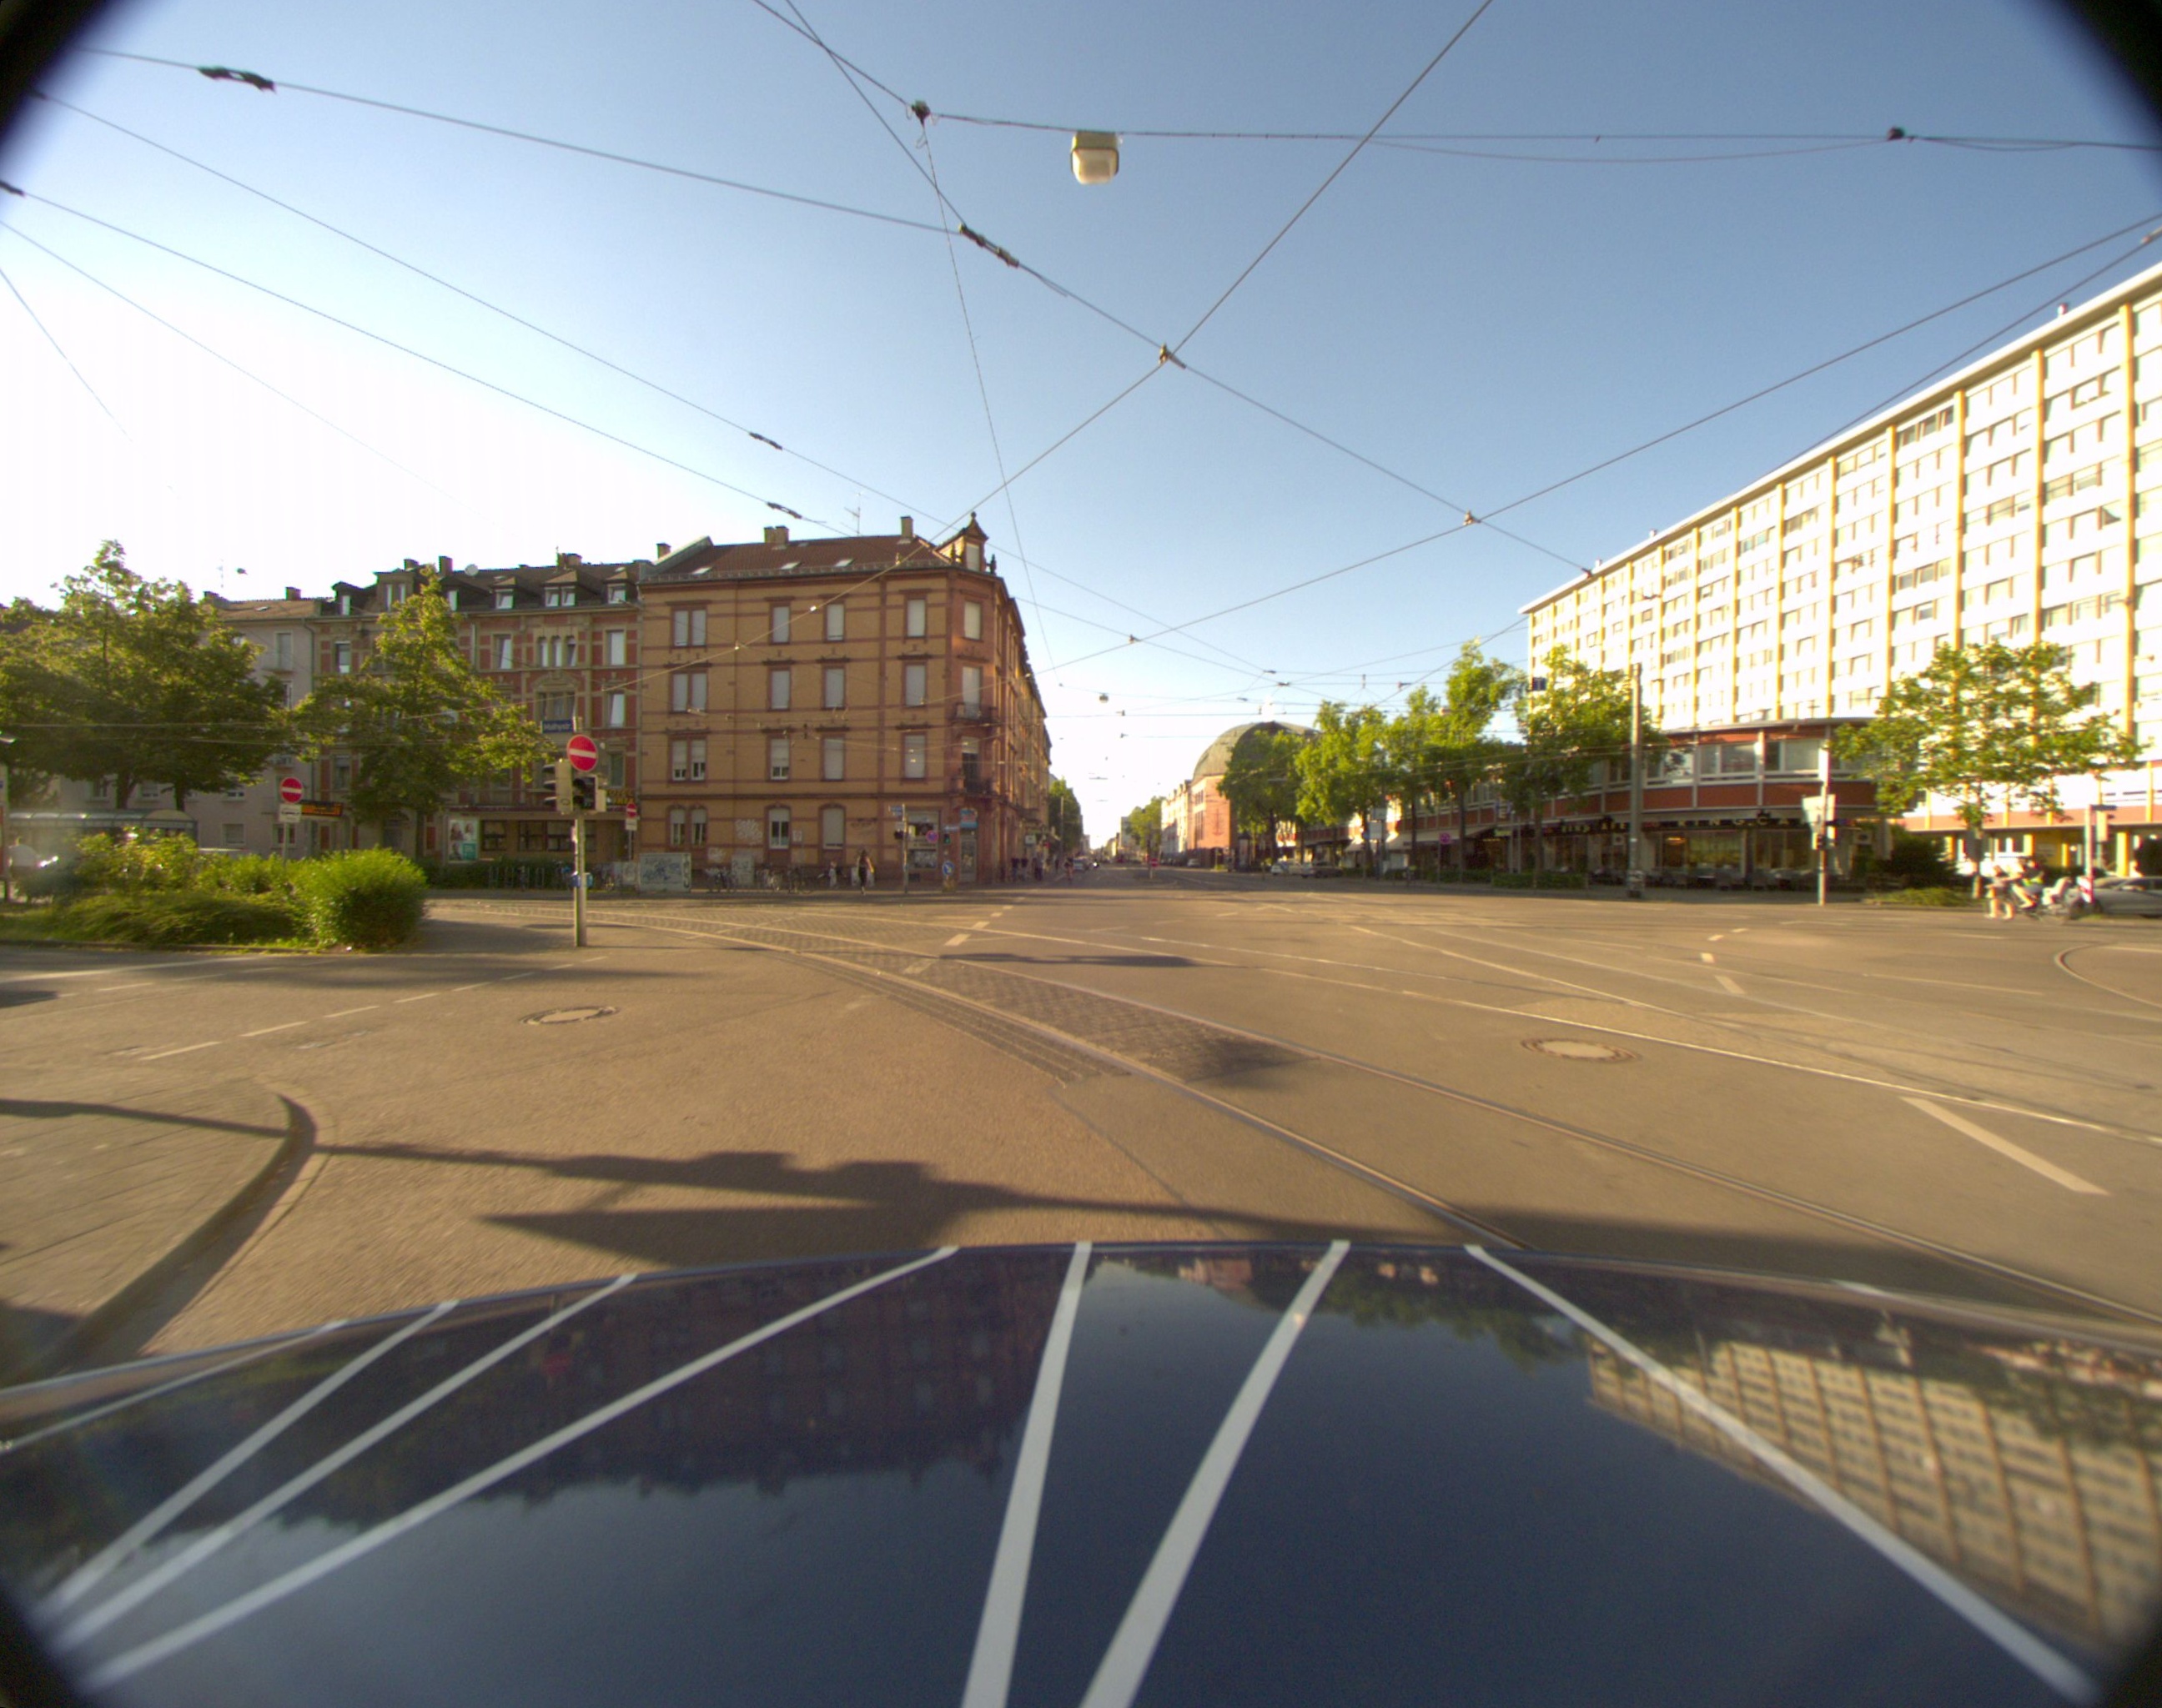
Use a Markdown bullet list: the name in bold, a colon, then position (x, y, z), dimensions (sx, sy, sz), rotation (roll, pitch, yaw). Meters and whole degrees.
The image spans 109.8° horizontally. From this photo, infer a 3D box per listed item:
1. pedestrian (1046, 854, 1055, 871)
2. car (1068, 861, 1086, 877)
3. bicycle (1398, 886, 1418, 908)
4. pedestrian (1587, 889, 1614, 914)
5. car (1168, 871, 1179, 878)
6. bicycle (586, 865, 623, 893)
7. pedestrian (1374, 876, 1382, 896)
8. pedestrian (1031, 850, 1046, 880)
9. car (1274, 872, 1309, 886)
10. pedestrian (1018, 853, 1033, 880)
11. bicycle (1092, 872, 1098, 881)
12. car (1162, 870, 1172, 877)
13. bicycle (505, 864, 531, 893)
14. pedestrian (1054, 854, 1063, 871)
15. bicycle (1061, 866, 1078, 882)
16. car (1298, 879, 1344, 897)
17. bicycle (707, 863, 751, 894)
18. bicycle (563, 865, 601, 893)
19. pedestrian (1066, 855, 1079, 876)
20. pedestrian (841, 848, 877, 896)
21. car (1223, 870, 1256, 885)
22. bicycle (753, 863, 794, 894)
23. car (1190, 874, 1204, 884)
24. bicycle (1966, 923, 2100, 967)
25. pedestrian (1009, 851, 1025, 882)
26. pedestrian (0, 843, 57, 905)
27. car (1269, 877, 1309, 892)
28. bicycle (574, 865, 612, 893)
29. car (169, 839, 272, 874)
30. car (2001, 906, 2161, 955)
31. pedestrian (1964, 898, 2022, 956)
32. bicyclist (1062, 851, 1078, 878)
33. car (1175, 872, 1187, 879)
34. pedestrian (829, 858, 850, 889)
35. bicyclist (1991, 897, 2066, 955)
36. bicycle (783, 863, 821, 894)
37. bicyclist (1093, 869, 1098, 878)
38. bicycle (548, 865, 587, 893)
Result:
- **pedestrian**: position (-3.029, 0.864, 75.514), dimensions (0.700, 1.713, 0.681), rotation (3, 0, 3)
- **car**: position (-0.397, 1.659, 84.997), dimensions (1.670, 1.674, 4.002), rotation (1, -1, 4)
- **bicycle**: position (19.371, 2.555, 44.980), dimensions (0.582, 1.227, 1.858), rotation (0, -1, 7)
- **pedestrian**: position (29.885, 2.739, 43.736), dimensions (0.936, 1.388, 0.891), rotation (2, -1, 3)
- **car**: position (20.768, 4.561, 170.278), dimensions (1.965, 1.593, 4.000), rotation (0, -1, -1)
- **bicycle**: position (-20.236, 1.056, 32.268), dimensions (1.795, 1.101, 0.501), rotation (1, 0, 28)
- **pedestrian**: position (27.385, 2.923, 70.070), dimensions (0.635, 1.758, 0.769), rotation (2, 1, 17)
- **pedestrian**: position (-2.774, 0.686, 49.182), dimensions (0.824, 1.883, 0.754), rotation (3, -1, 2)
- **car**: position (33.599, 3.968, 121.220), dimensions (4.983, 2.001, 2.000), rotation (2, -1, -1)
- **pedestrian**: position (-3.605, 0.786, 49.569), dimensions (0.777, 1.713, 0.754), rotation (3, -1, 2)
- **bicycle**: position (1.914, 3.034, 102.688), dimensions (0.646, 1.175, 1.804), rotation (2, -1, -1)
- **car**: position (21.436, 4.884, 189.431), dimensions (1.965, 1.593, 4.000), rotation (0, -1, -1)
- **bicycle**: position (-22.273, 0.958, 30.050), dimensions (1.795, 1.101, 0.501), rotation (1, -1, 43)
- **pedestrian**: position (-2.215, 0.851, 74.938), dimensions (0.700, 1.713, 0.503), rotation (3, 0, 3)
- **bicycle**: position (-0.704, 1.217, 46.534), dimensions (0.885, 0.949, 1.766), rotation (2, -1, 4)
- **car**: position (21.836, 3.039, 69.070), dimensions (4.007, 1.545, 1.794), rotation (1, -1, -30)
- **bicycle**: position (-14.807, 1.014, 32.016), dimensions (0.755, 1.256, 1.969), rotation (2, 0, 5)
- **bicycle**: position (-20.652, 1.032, 31.420), dimensions (1.795, 1.101, 0.501), rotation (1, 0, 28)
- **pedestrian**: position (-0.647, 0.886, 58.511), dimensions (0.849, 1.651, 0.850), rotation (1, 0, 5)
- **pedestrian**: position (-8.502, 0.688, 29.163), dimensions (1.026, 1.796, 1.083), rotation (2, -1, -2)
- **car**: position (20.590, 3.054, 98.627), dimensions (4.007, 1.952, 1.907), rotation (1, -1, -33)
- **bicycle**: position (-12.936, 1.013, 32.042), dimensions (0.755, 1.256, 1.969), rotation (2, 0, 5)
- **car**: position (20.901, 4.520, 136.788), dimensions (1.910, 1.593, 4.000), rotation (0, -1, -1)
- **bicycle**: position (25.311, 2.396, 20.284), dimensions (0.842, 0.921, 2.266), rotation (-1, 0, 5)
- **pedestrian**: position (-3.669, 0.727, 43.471), dimensions (0.777, 1.713, 0.754), rotation (3, -1, 2)
- **pedestrian**: position (-35.258, 0.675, 25.434), dimensions (0.605, 2.001, 0.865), rotation (2, -2, 12)
- **car**: position (21.890, 3.208, 79.833), dimensions (4.007, 1.466, 1.794), rotation (1, -1, -30)
- **bicycle**: position (-20.443, 1.045, 31.834), dimensions (1.795, 1.101, 0.501), rotation (1, 0, 28)
- **car**: position (-48.830, 0.170, 43.171), dimensions (3.976, 1.807, 1.979), rotation (1, -3, 10)
- **car**: position (35.219, 2.626, 25.994), dimensions (4.446, 1.412, 1.894), rotation (2, -1, 18)
- **pedestrian**: position (27.320, 2.171, 22.773), dimensions (0.869, 1.671, 0.697), rotation (2, -2, 10)
- **bicyclist**: position (-0.689, 0.636, 46.548), dimensions (0.885, 1.650, 0.804), rotation (2, -1, 4)
- **car**: position (21.458, 4.630, 163.508), dimensions (1.965, 1.593, 4.000), rotation (0, -1, -1)
- **pedestrian**: position (-12.553, 0.991, 39.560), dimensions (0.743, 1.562, 0.763), rotation (0, 4, 8)
- **bicyclist**: position (25.302, 1.906, 20.310), dimensions (0.842, 1.458, 0.897), rotation (-1, 0, 5)
- **bicycle**: position (-11.633, 1.004, 31.719), dimensions (0.755, 1.256, 1.836), rotation (2, 0, 5)
- **bicyclist**: position (1.987, 2.587, 102.739), dimensions (0.646, 1.175, 0.723), rotation (2, -1, -1)
- **bicycle**: position (-20.891, 1.012, 30.884), dimensions (1.795, 1.101, 0.501), rotation (1, 0, 28)
